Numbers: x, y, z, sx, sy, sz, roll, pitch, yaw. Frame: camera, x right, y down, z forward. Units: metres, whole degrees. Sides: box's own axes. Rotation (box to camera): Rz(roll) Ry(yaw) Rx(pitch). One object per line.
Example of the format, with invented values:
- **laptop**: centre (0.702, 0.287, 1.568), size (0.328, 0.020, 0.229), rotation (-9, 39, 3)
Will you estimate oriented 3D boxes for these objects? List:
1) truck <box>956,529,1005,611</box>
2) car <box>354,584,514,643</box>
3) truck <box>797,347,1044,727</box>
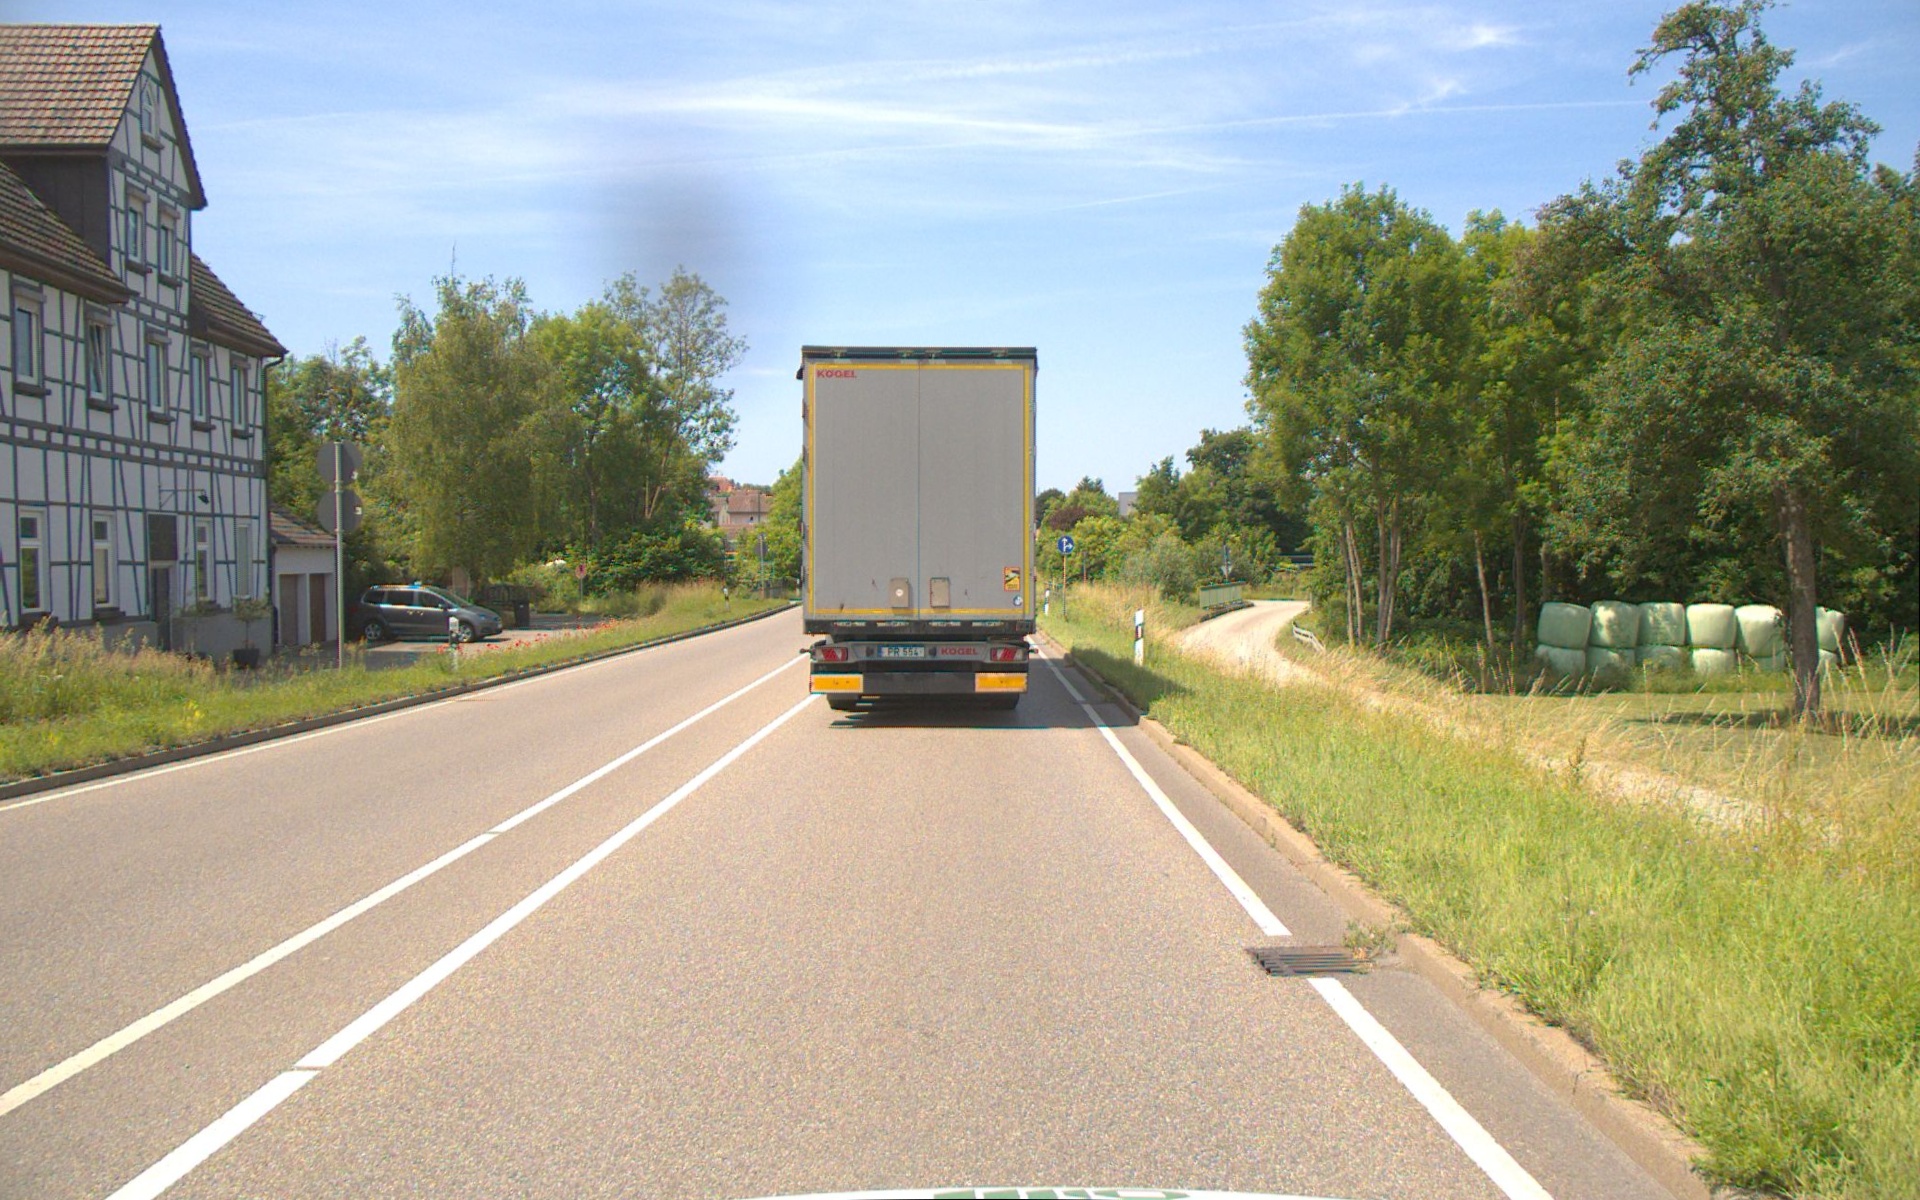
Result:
- **truck**: centre (1.179, -1.767, 101.372), size (2.592, 4.681, 10.814), rotation (1, 0, -1)
- **car**: centre (-16.935, 0.436, 53.397), size (4.571, 1.750, 1.861), rotation (1, 3, -4)
- **truck**: centre (-0.463, -0.708, 21.802), size (2.593, 3.985, 8.824), rotation (0, 1, -1)
